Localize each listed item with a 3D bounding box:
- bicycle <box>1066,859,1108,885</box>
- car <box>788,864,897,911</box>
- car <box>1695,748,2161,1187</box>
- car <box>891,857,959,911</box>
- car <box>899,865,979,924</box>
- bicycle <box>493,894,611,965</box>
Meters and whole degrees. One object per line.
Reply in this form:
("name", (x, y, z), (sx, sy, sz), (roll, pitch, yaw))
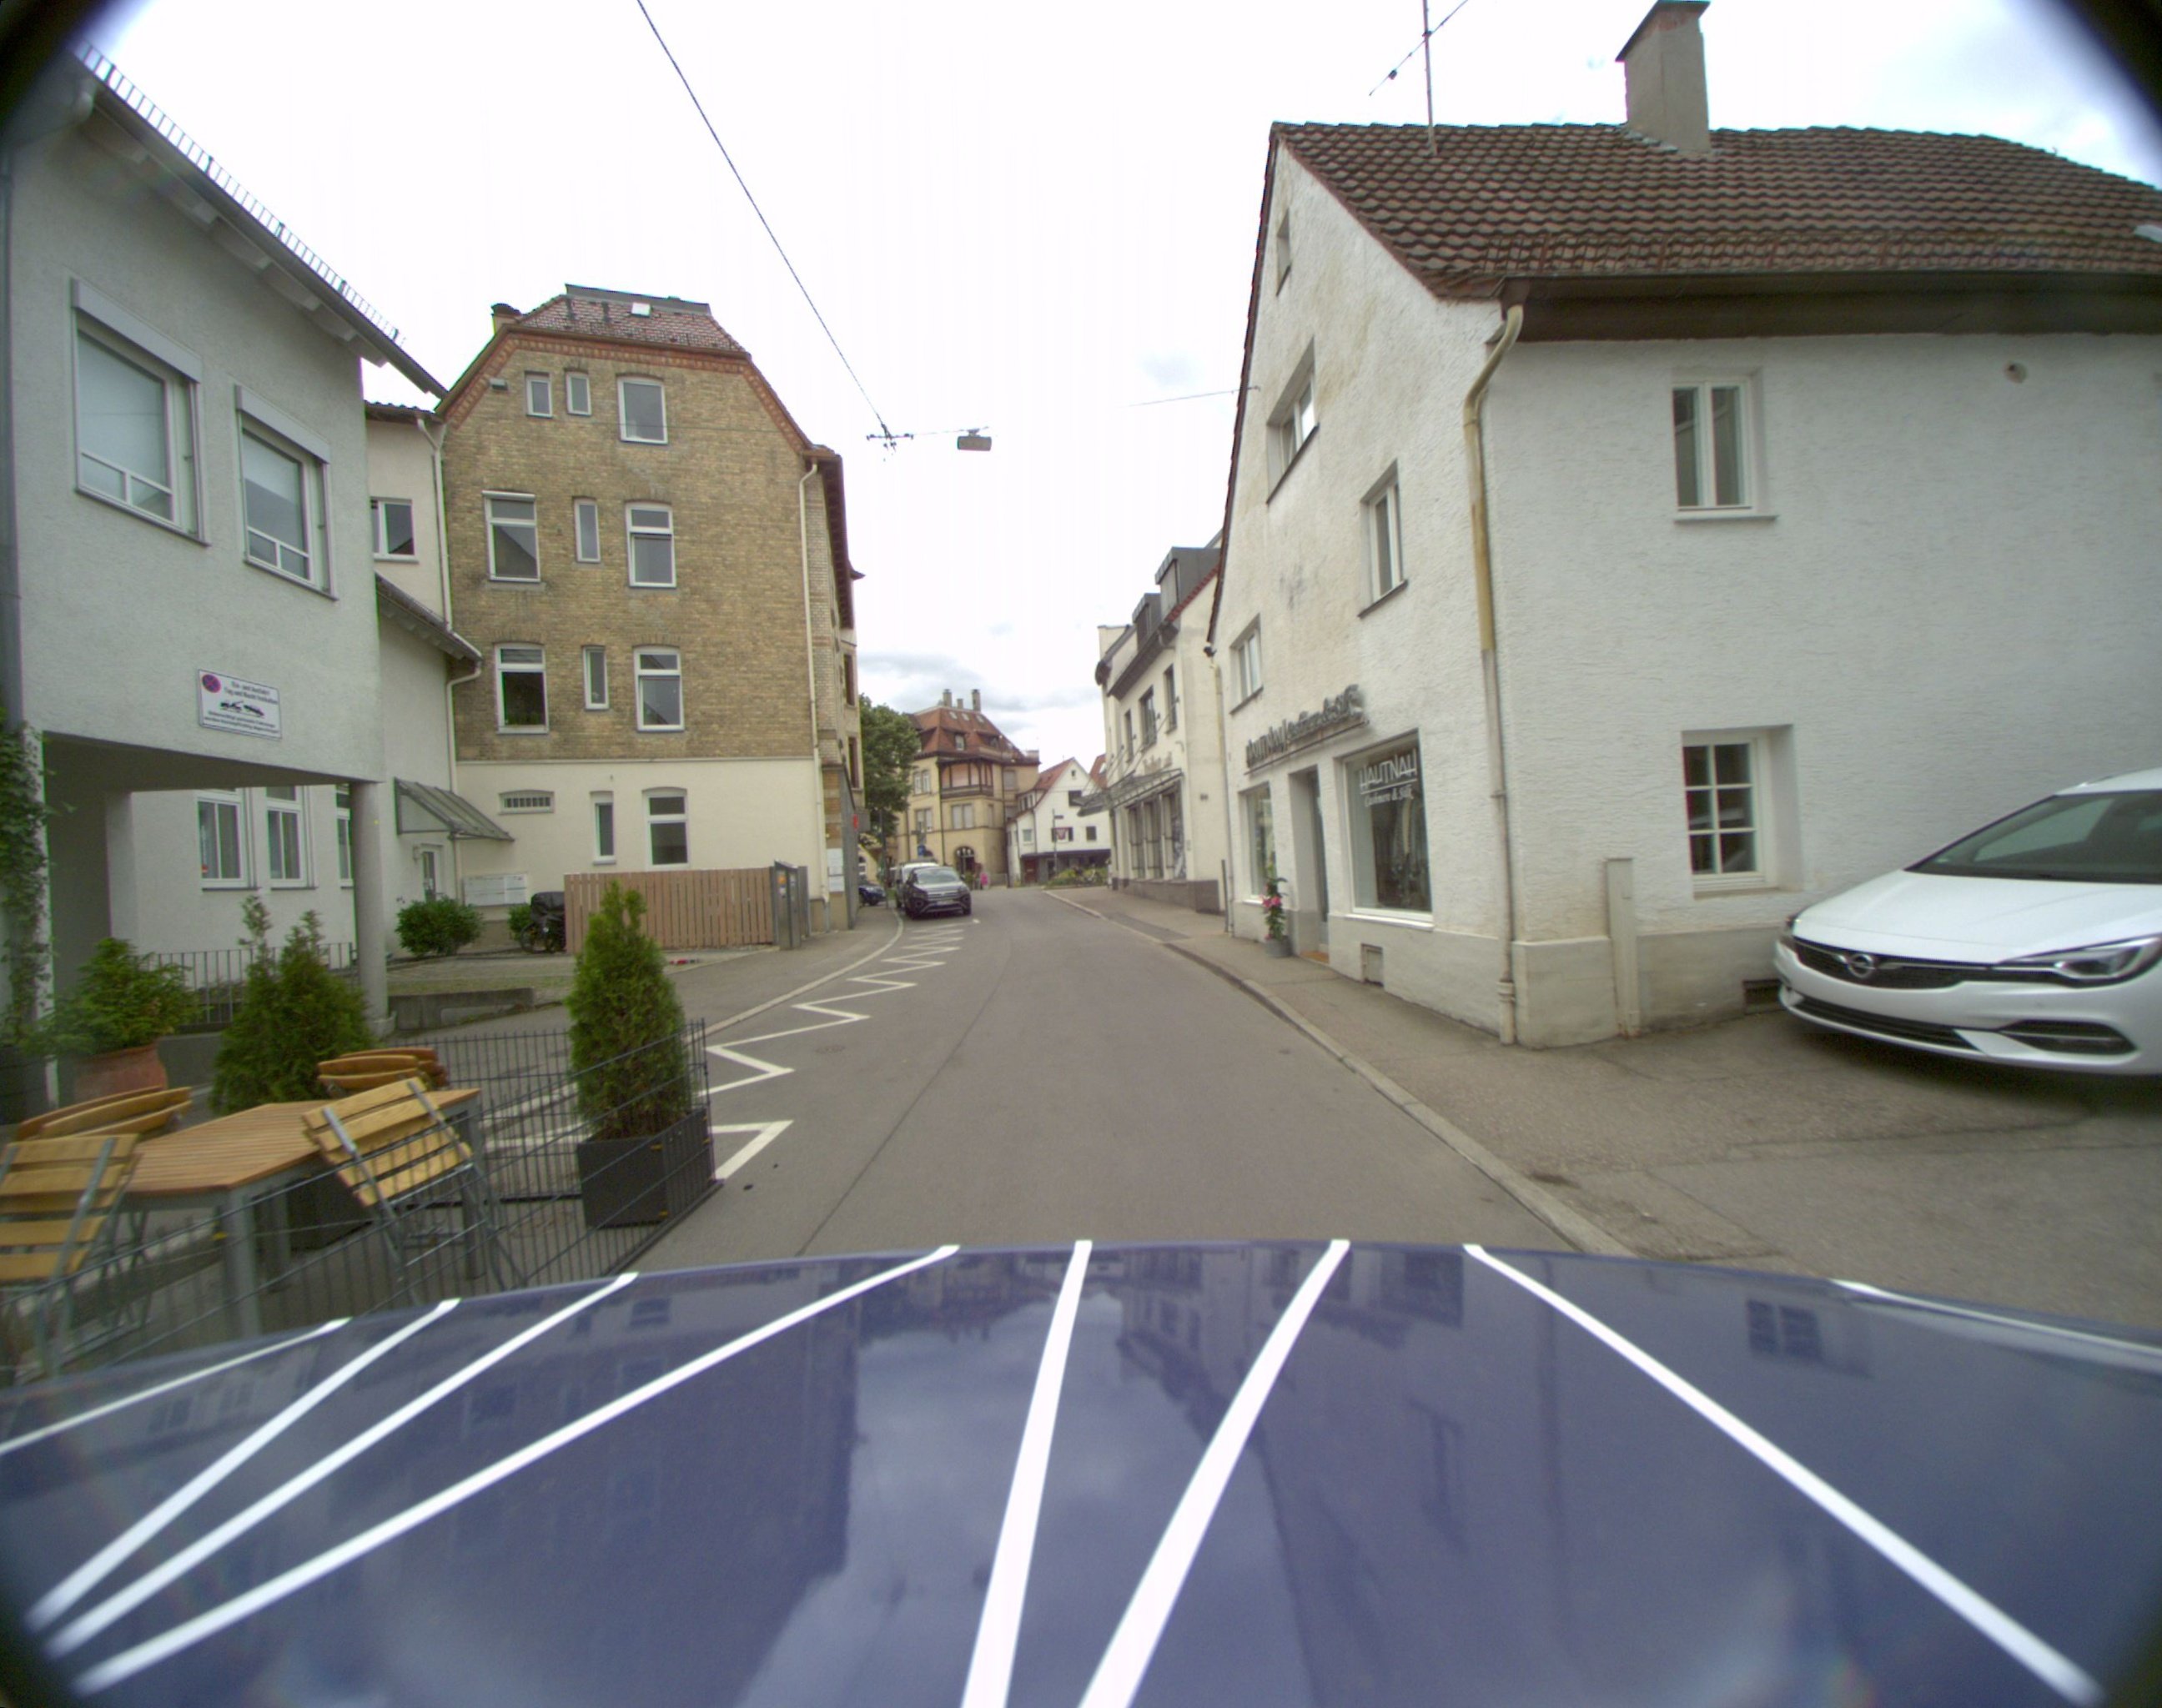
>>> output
("bicycle", (0.298, 0.928, 39.347), (1.982, 1.232, 0.743), (-4, -1, -25))
("car", (-10.358, 1.443, 33.130), (4.017, 1.694, 1.863), (-4, 1, 9))
("car", (6.337, 0.214, 4.011), (4.549, 1.492, 1.977), (-8, 3, -1))
("car", (-6.057, 1.121, 29.098), (1.833, 1.781, 4.212), (-4, 0, -20))
("car", (-4.663, 1.215, 24.384), (1.795, 1.591, 4.535), (-4, 0, -19))
("bicycle", (-10.171, 1.421, 14.725), (0.962, 1.211, 2.100), (-1, -2, -6))
